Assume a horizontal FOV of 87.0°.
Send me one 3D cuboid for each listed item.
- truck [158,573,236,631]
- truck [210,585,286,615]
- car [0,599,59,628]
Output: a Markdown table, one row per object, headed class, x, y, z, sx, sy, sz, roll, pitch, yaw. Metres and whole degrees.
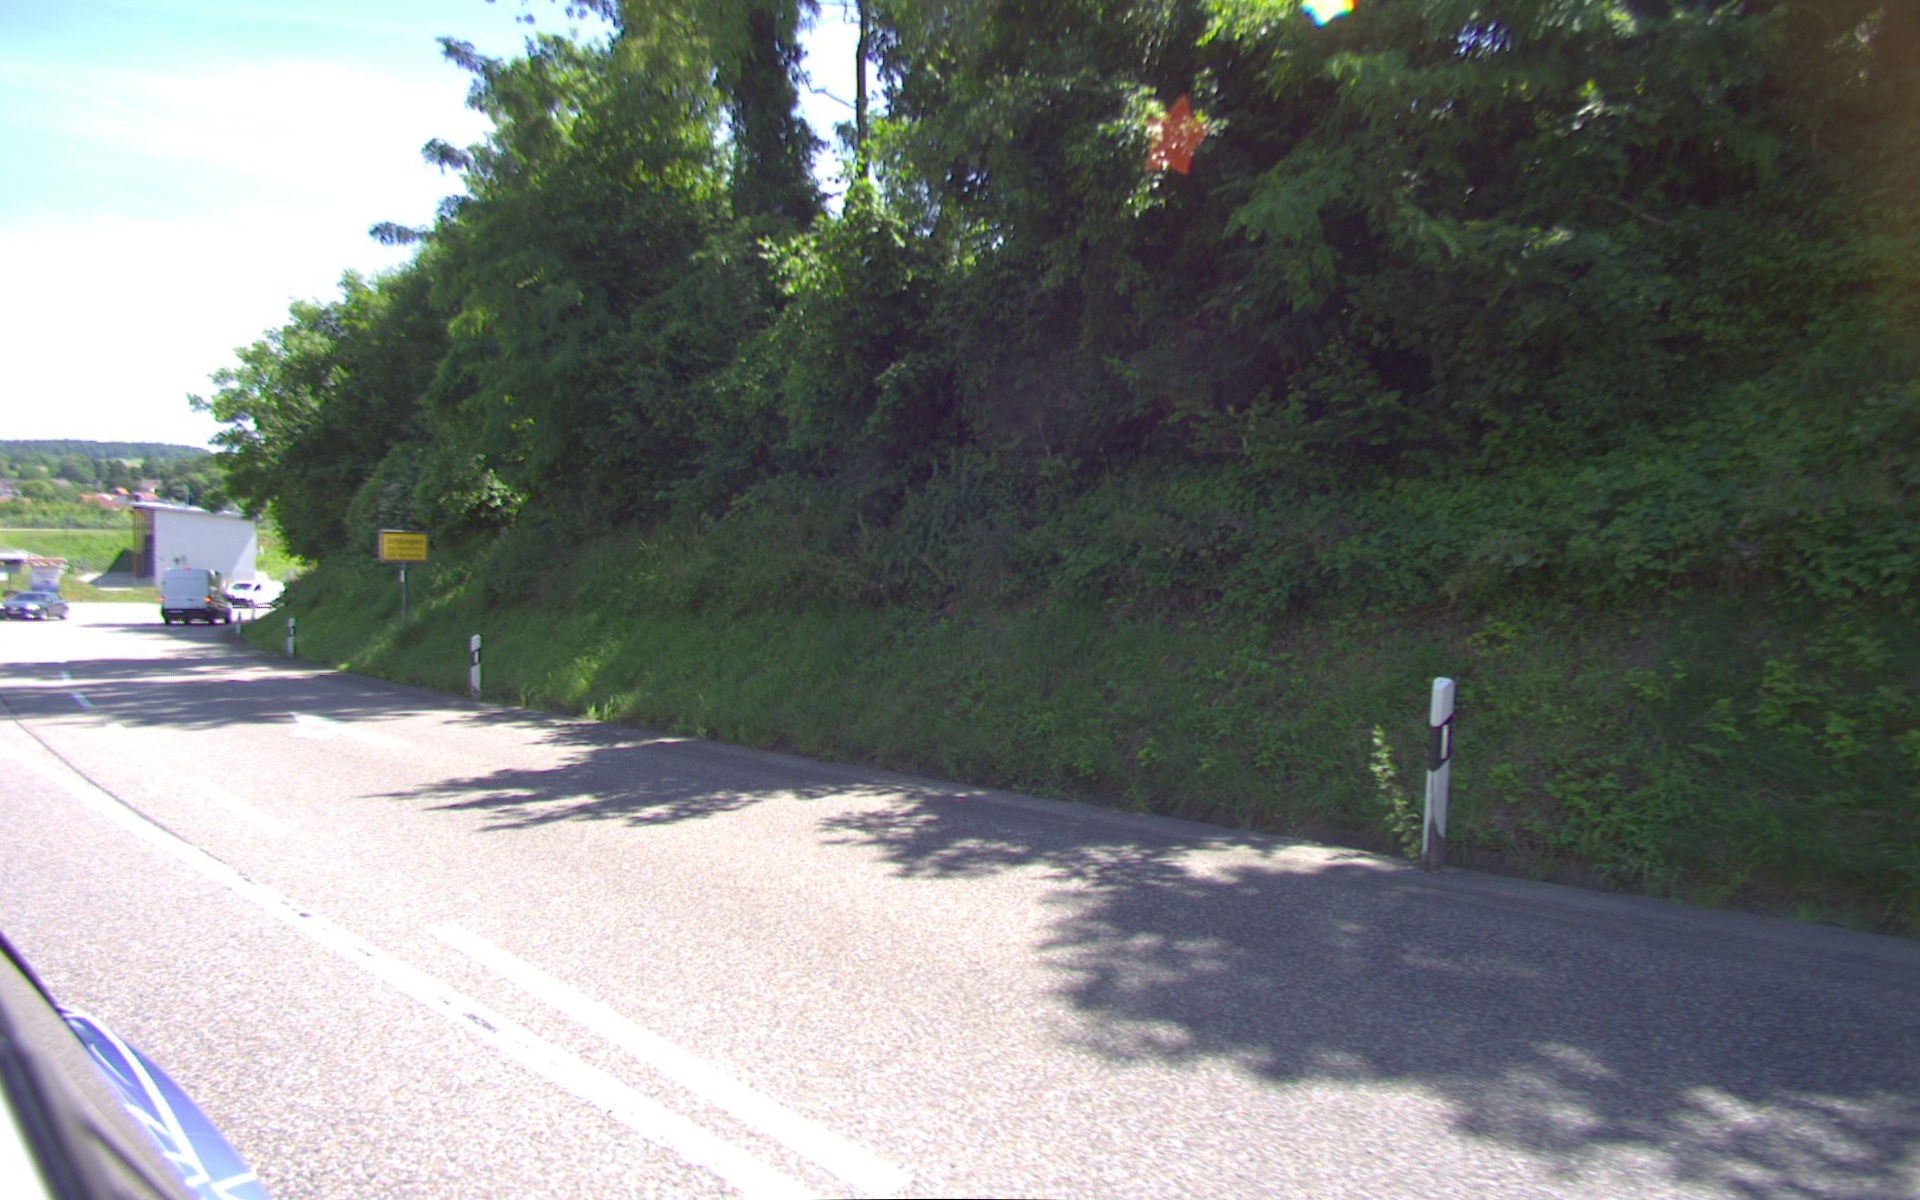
| class | x | y | z | sx | sy | sz | roll | pitch | yaw |
| --- | --- | --- | --- | --- | --- | --- | --- | --- | --- |
| truck | -38.398 | 0.117 | 51.082 | 2.024 | 2.707 | 6.000 | 2 | -1 | -27 |
| truck | -52.316 | -0.040 | 74.477 | 2.042 | 2.028 | 5.248 | 0 | 2 | -3 |
| car | -45.647 | 0.640 | 49.543 | 1.727 | 1.298 | 4.156 | 2 | -1 | -34 |
